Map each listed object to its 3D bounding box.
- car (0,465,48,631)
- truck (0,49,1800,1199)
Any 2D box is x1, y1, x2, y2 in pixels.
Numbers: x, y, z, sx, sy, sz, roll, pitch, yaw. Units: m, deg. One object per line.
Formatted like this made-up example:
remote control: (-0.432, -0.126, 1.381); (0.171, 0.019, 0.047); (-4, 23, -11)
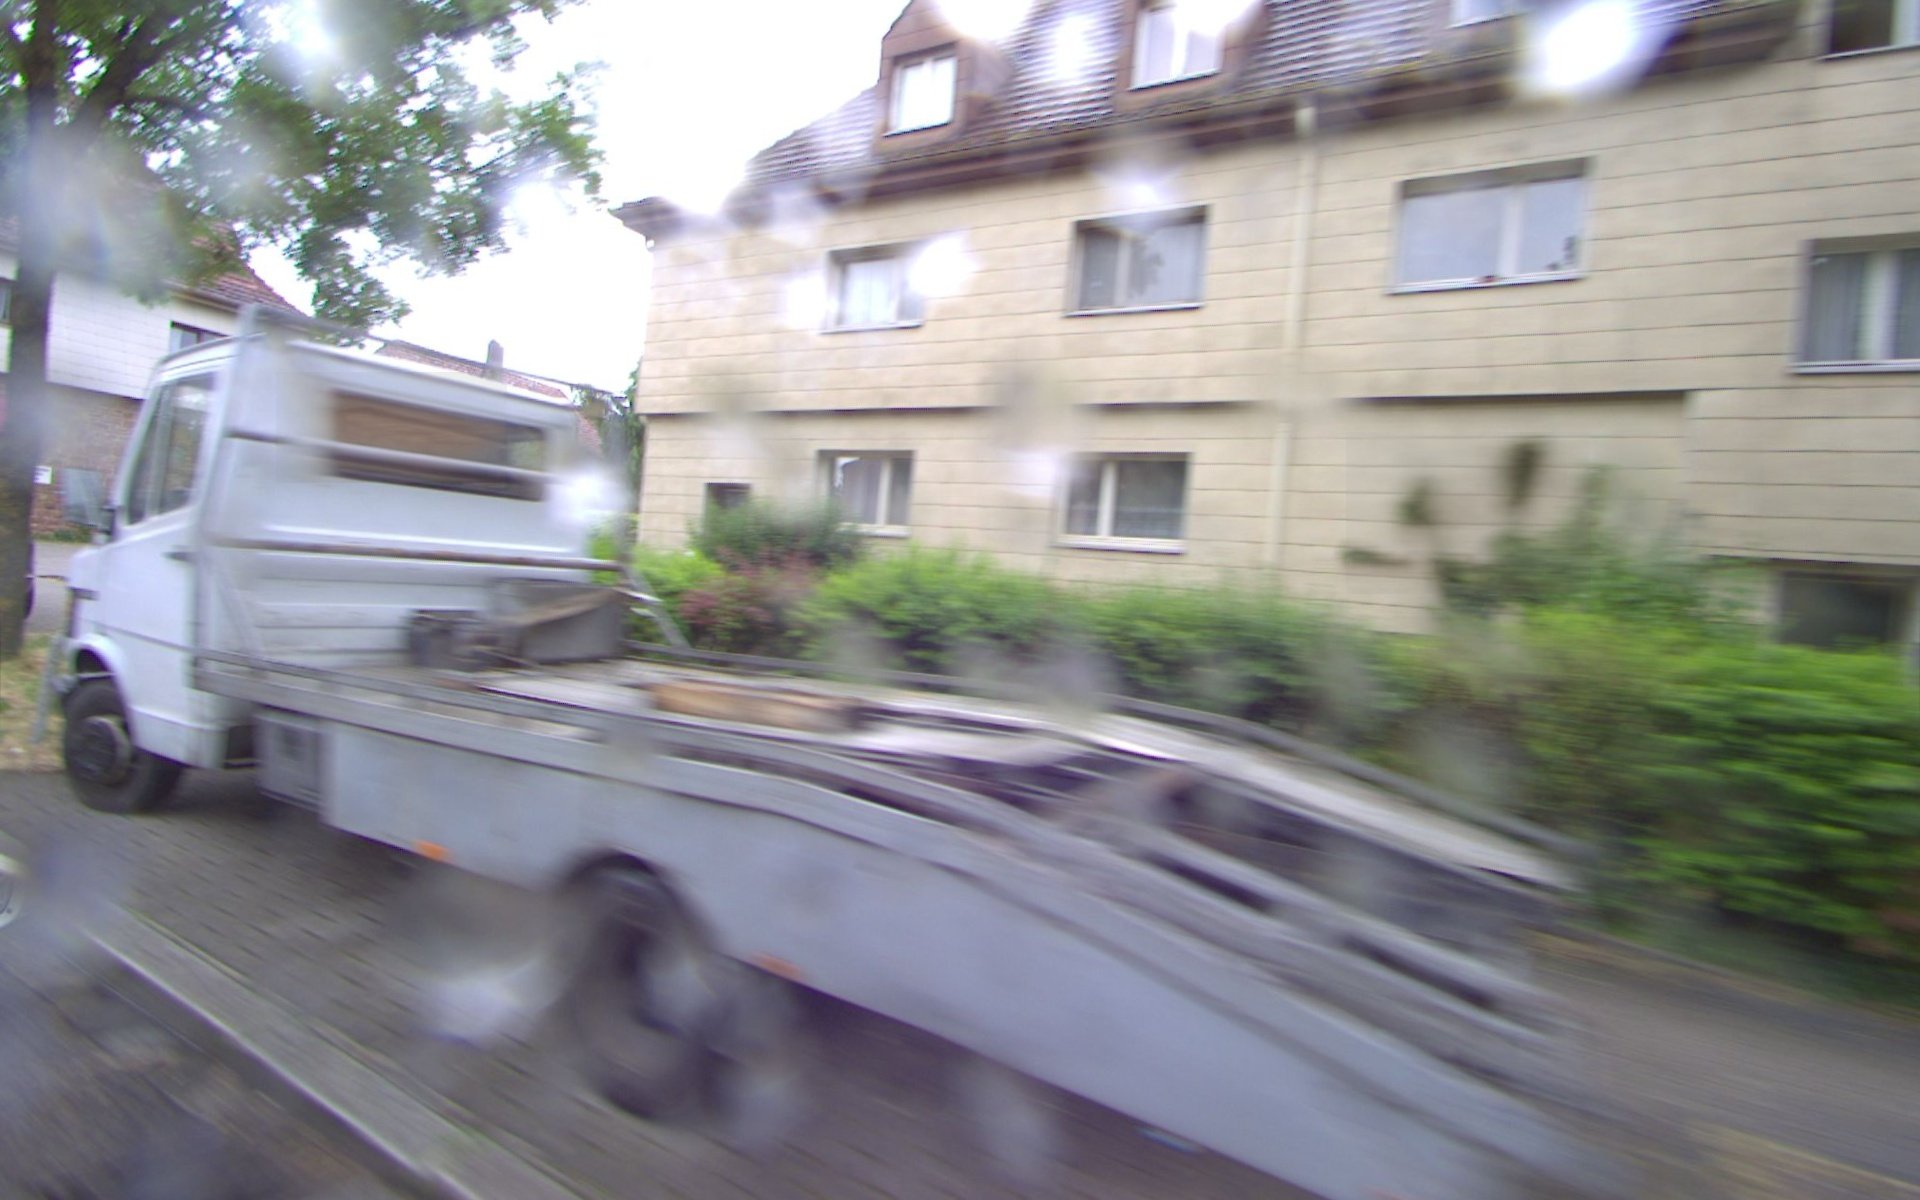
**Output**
car: (-10.768, -0.687, 9.809); (4.114, 1.519, 1.714); (7, 2, 32)
truck: (-1.190, 0.099, 3.932); (6.392, 2.252, 2.080); (7, 3, 31)
